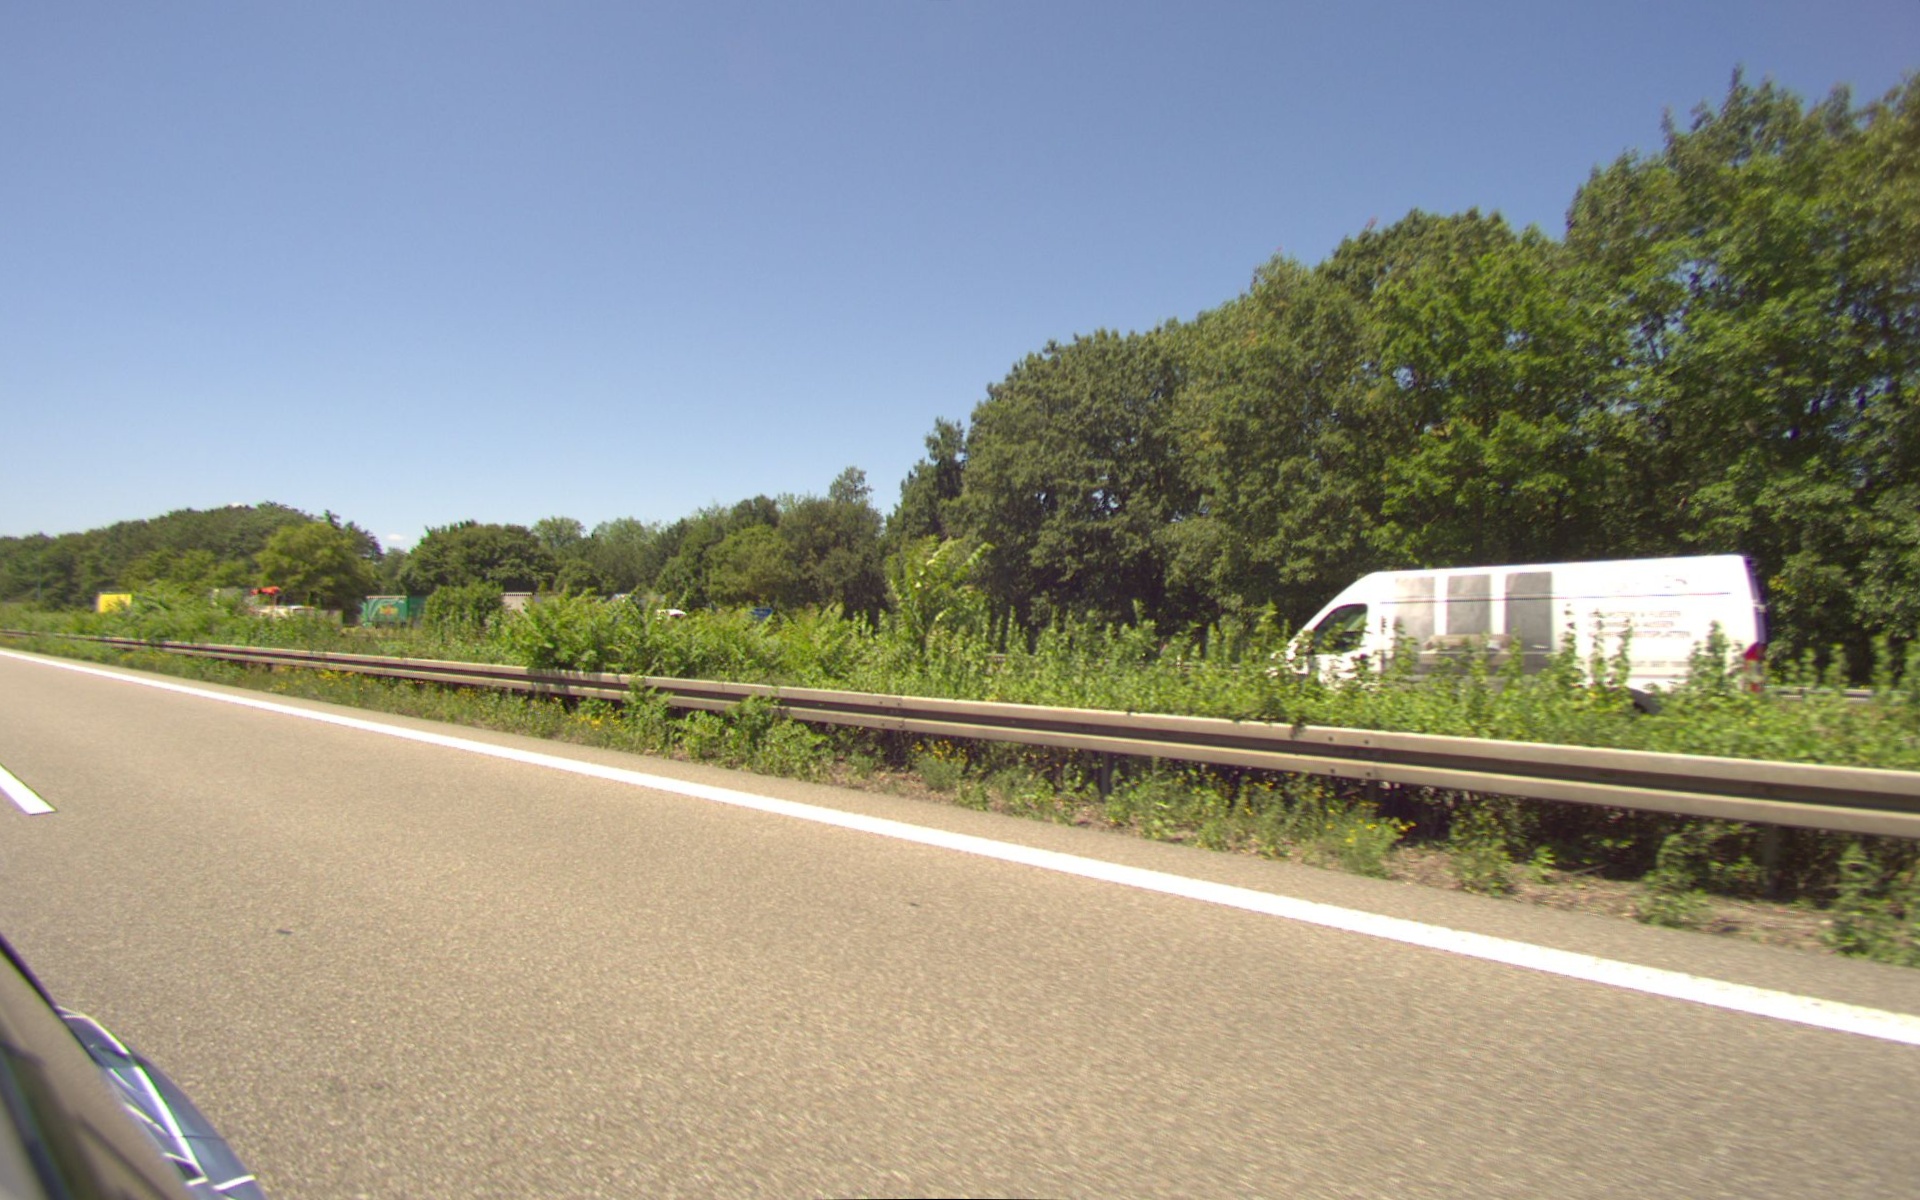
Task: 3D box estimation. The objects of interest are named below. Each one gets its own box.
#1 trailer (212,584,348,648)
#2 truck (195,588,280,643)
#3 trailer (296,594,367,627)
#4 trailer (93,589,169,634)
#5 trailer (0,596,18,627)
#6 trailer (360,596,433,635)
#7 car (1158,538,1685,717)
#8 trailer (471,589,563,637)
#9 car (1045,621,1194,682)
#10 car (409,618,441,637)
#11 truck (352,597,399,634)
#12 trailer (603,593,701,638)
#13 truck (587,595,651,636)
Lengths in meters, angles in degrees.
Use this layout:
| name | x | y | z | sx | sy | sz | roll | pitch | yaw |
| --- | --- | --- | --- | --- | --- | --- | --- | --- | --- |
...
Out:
| name | x | y | z | sx | sy | sz | roll | pitch | yaw |
| --- | --- | --- | --- | --- | --- | --- | --- | --- | --- |
| trailer | -43.059 | 0.967 | 63.672 | 15.961 | 3.607 | 3.164 | -1 | 0 | 41 |
| truck | -49.632 | 1.041 | 69.454 | 6.993 | 3.607 | 3.165 | -1 | 0 | 41 |
| trailer | -85.762 | 1.523 | 137.932 | 14.005 | 4.296 | 3.566 | -1 | -2 | 38 |
| trailer | -75.816 | 0.997 | 92.441 | 14.017 | 3.854 | 3.164 | -1 | 0 | 42 |
| trailer | -138.595 | 1.619 | 145.802 | 11.480 | 4.304 | 2.873 | -1 | 0 | 40 |
| trailer | -69.795 | 1.940 | 125.146 | 14.019 | 4.627 | 3.562 | -1 | -2 | 42 |
| car | 6.327 | 0.335 | 14.669 | 6.630 | 2.070 | 2.124 | -1 | 0 | 41 |
| trailer | -41.269 | 1.168 | 93.927 | 3.178 | 4.167 | 14.062 | -1 | 0 | -44 |
| car | 4.748 | 1.483 | 30.374 | 3.997 | 1.606 | 1.951 | -1 | 1 | 41 |
| car | -60.589 | 3.100 | 114.623 | 1.970 | 2.029 | 4.727 | 2 | -2 | -44 |
| truck | -74.904 | 2.010 | 129.753 | 5.756 | 4.627 | 3.563 | -1 | -2 | 42 |
| trailer | -27.610 | 1.416 | 89.997 | 3.554 | 3.684 | 14.052 | 2 | -2 | -37 |
| truck | -32.567 | 1.520 | 96.471 | 3.554 | 3.684 | 7.419 | 2 | -2 | -37 |
